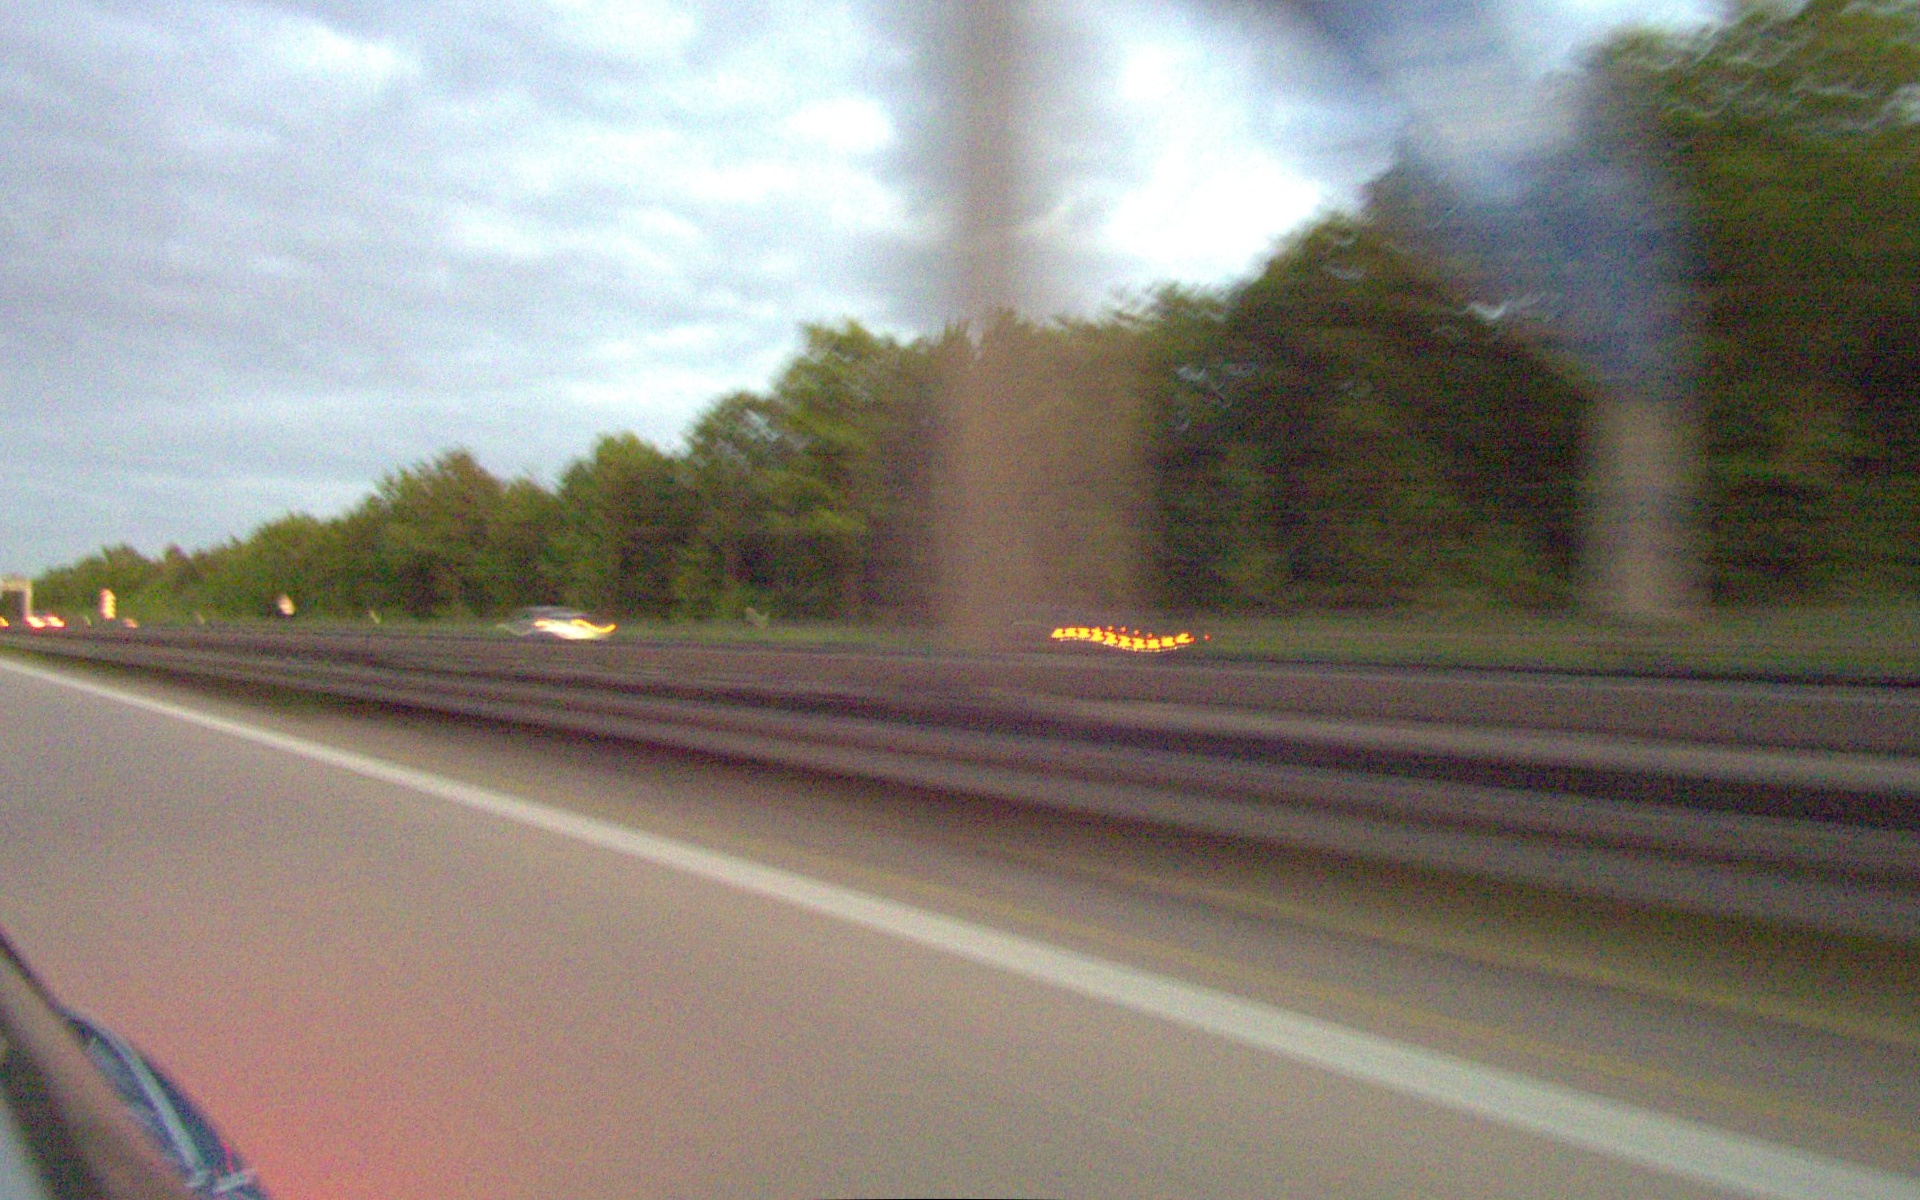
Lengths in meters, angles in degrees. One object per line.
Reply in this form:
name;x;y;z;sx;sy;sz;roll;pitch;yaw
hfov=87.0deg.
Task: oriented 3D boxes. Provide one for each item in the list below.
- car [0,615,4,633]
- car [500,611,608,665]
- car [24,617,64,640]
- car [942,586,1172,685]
car;-118.081;2.962;123.190;4.367;2.171;1.974;-1;-1;38
car;-14.692;1.340;36.505;4.205;1.811;1.972;-1;-1;42
car;-76.774;2.388;84.784;4.203;1.811;1.973;-1;-1;41
car;1.913;0.692;20.771;4.370;1.811;1.973;-1;-1;41
